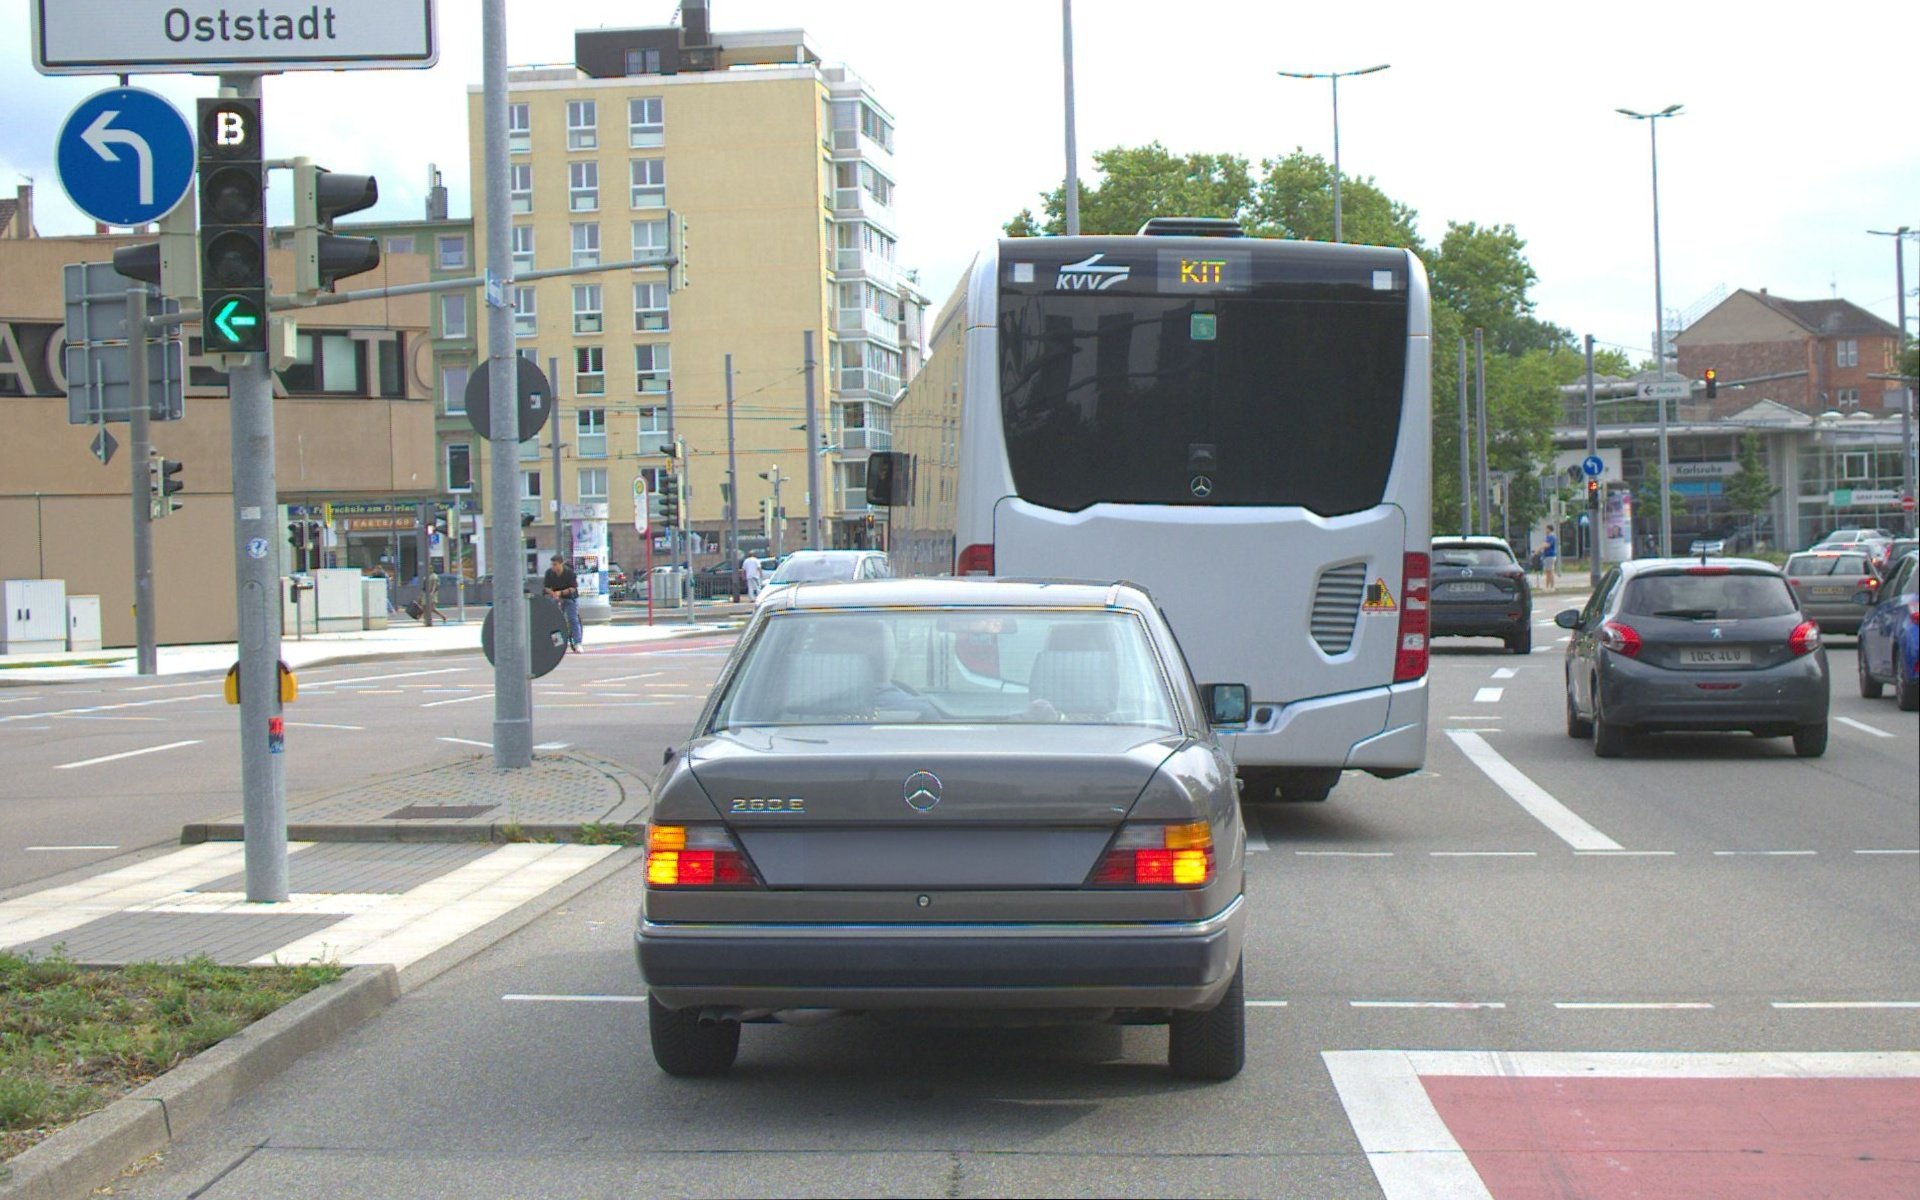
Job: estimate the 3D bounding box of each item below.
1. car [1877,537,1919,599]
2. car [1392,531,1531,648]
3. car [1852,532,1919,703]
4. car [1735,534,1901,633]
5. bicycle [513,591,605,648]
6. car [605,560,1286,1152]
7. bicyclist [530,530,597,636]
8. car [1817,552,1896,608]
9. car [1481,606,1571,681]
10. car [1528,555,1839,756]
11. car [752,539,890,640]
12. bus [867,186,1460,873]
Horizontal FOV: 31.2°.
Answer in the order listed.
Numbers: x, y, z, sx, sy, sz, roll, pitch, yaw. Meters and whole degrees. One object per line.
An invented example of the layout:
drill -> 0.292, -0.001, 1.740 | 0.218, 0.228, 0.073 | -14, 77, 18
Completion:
car -> 22.335, -0.738, 79.958 | 1.705, 1.415, 3.697 | 0, 0, 18
car -> 7.170, -0.159, 49.379 | 1.835, 1.609, 3.545 | 0, 0, 6
car -> 9.655, 0.151, 32.714 | 1.858, 1.527, 4.001 | 0, 0, 9
car -> 12.856, -0.250, 51.368 | 2.134, 1.415, 3.697 | 0, 0, 18
bicycle -> -6.364, 0.296, 54.689 | 0.862, 0.873, 2.518 | 0, 0, 8
car -> -0.101, 0.626, 10.806 | 1.695, 1.475, 4.416 | 0, 0, -2
bicyclist -> -6.322, -0.269, 54.819 | 0.867, 1.663, 0.881 | 0, 0, 8
car -> 23.291, -0.531, 89.258 | 1.712, 1.415, 3.996 | 0, 0, 18
car -> 11.322, 0.843, 68.607 | 1.711, 1.415, 3.998 | 0, 0, 10
car -> 5.463, 0.377, 26.391 | 1.711, 1.415, 4.000 | 0, 0, 3
car -> -2.323, -0.189, 58.464 | 1.994, 1.645, 4.290 | 0, 0, 2
bus -> 0.861, -0.415, 24.824 | 2.704, 3.426, 14.185 | -3, 0, -2
